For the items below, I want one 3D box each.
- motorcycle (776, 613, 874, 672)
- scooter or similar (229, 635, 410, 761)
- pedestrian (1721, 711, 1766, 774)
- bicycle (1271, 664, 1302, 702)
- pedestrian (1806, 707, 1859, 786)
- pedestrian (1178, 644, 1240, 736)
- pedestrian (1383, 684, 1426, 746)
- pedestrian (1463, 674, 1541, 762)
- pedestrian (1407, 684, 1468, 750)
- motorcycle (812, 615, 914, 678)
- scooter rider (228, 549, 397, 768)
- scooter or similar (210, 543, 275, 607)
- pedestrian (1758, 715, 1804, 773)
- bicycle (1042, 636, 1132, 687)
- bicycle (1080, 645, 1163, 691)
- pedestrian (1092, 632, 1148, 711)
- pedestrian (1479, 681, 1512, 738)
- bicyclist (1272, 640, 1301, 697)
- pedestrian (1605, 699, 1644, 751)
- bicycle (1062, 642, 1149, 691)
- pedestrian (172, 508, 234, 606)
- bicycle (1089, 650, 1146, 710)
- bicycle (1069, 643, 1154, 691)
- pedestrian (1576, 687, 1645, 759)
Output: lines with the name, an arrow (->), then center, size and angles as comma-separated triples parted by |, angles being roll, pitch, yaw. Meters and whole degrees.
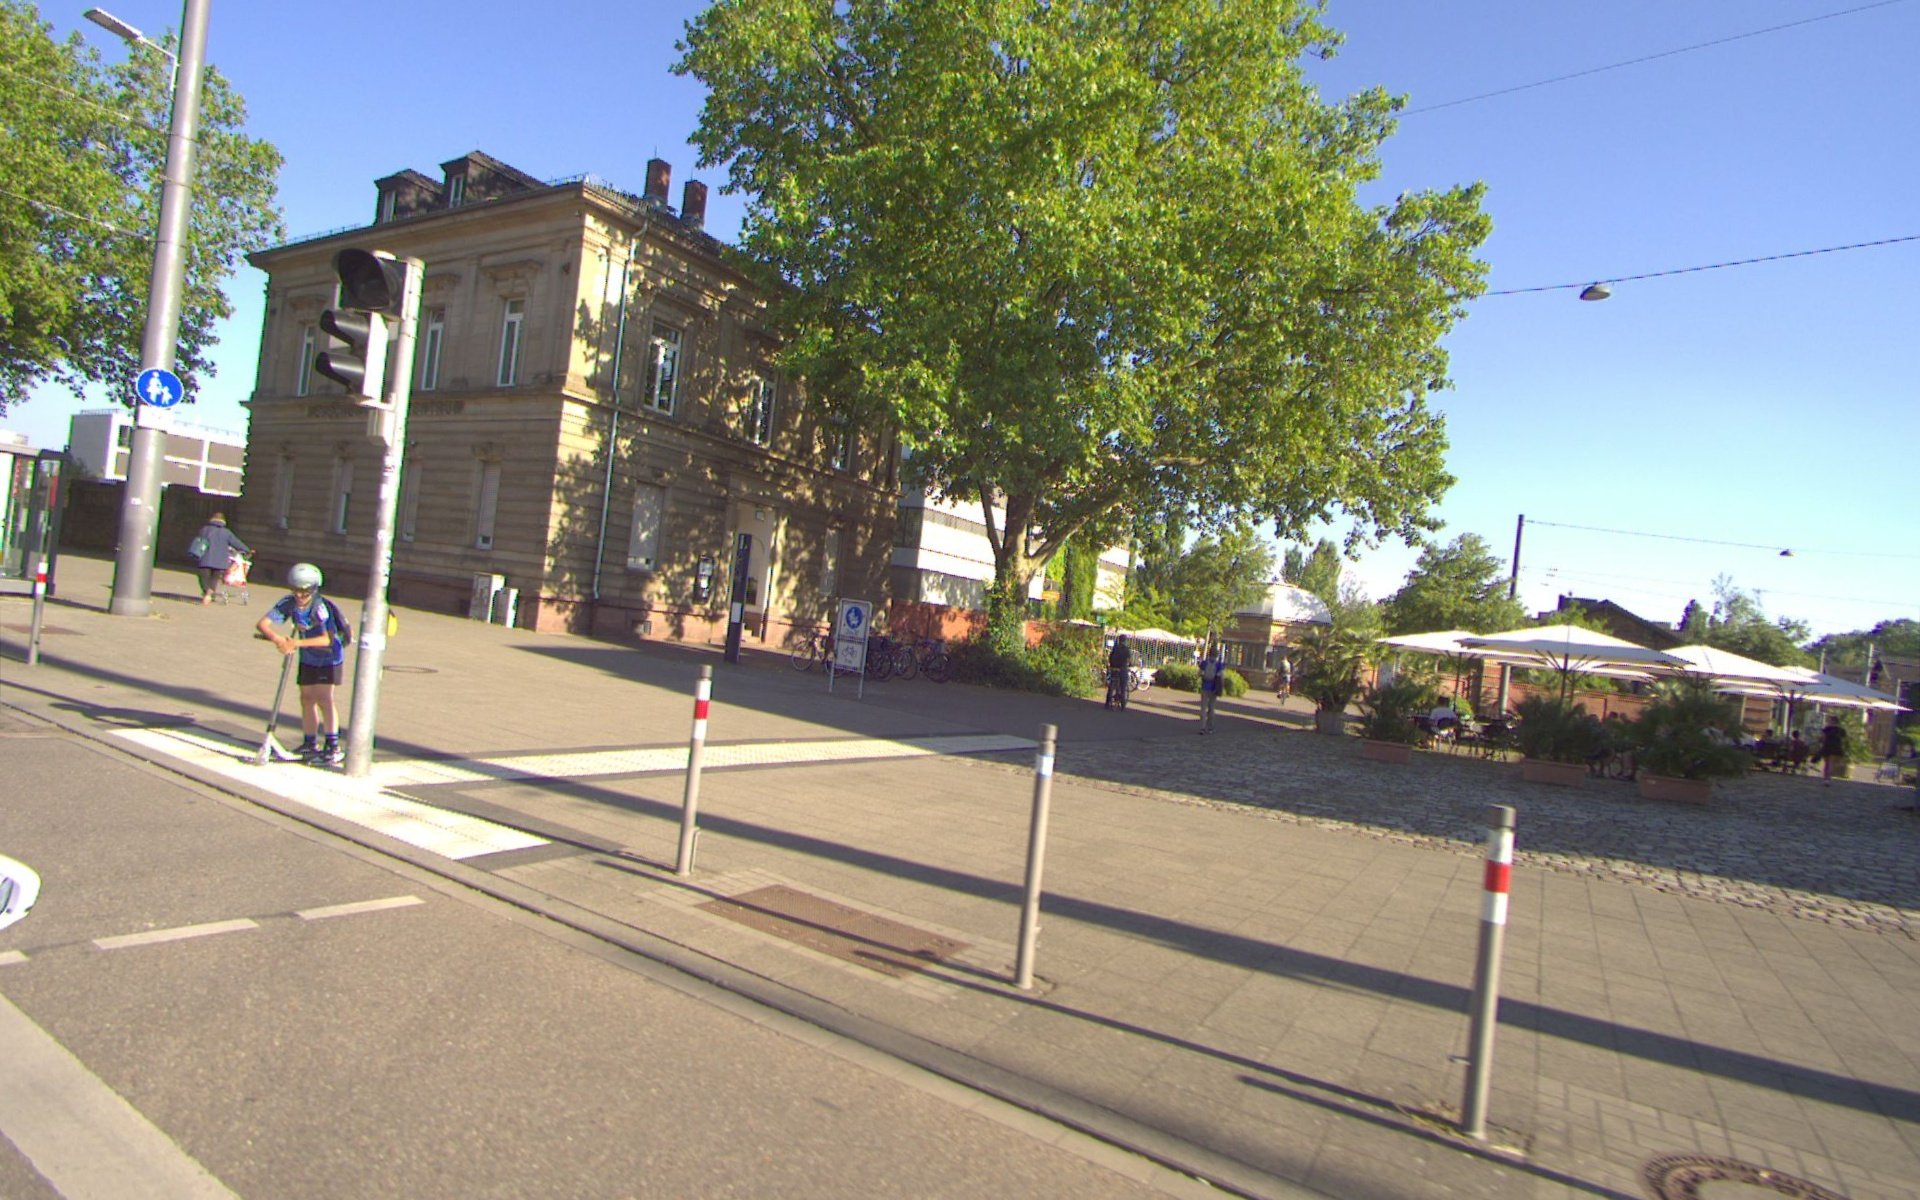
motorcycle -> -3.046, 0.978, 22.850 | 0.874, 1.115, 2.076 | 5, -2, 39
scooter or similar -> -4.589, 0.704, 7.257 | 0.260, 0.821, 1.022 | 6, -1, 32
pedestrian -> 20.197, 3.658, 25.955 | 0.653, 1.485, 0.837 | 6, 1, 30
bicycle -> 12.268, 3.097, 37.890 | 0.767, 1.293, 2.672 | 6, -2, 13
pedestrian -> 21.261, 3.558, 24.536 | 0.653, 1.767, 0.838 | 6, 1, 29
pedestrian -> 5.403, 1.917, 21.788 | 1.018, 1.811, 0.998 | 6, 1, 21
pedestrian -> 10.692, 2.772, 24.209 | 0.645, 1.393, 0.671 | 6, 0, 41
pedestrian -> 12.023, 2.602, 22.357 | 0.981, 1.766, 1.036 | 6, 0, -6
pedestrian -> 11.266, 2.742, 23.752 | 0.986, 1.397, 0.769 | 7, 2, 45
motorcycle -> -2.153, 1.068, 22.565 | 0.874, 1.173, 2.219 | 5, -2, 39
scooter rider -> -4.556, 0.408, 7.094 | 0.590, 1.414, 0.702 | 6, 0, 32
scooter or similar -> -14.218, -0.486, 19.930 | 0.746, 1.170, 0.719 | 6, 1, 26
pedestrian -> 23.332, 4.091, 28.609 | 0.652, 1.485, 0.839 | 6, 1, 22
bicycle -> 4.050, 1.963, 32.049 | 2.623, 1.293, 0.781 | 6, -1, 28
bicycle -> 5.592, 2.357, 34.972 | 2.623, 1.293, 0.781 | 6, -1, 28
pedestrian -> 3.911, 1.727, 24.552 | 1.018, 1.767, 0.998 | 6, 1, 21
pedestrian -> 15.105, 3.080, 28.388 | 0.653, 1.485, 0.837 | 6, 1, 30
bicyclist -> 12.323, 2.579, 37.951 | 0.766, 2.037, 0.991 | 6, -1, 14
pedestrian -> 20.810, 3.903, 31.523 | 0.825, 1.485, 0.663 | 6, 1, 29
bicycle -> 4.754, 2.173, 32.964 | 2.623, 1.293, 0.781 | 6, -1, 28
pedestrian -> -14.411, -0.819, 19.174 | 0.764, 1.767, 0.789 | 5, 1, -33
bicycle -> 3.863, 1.952, 24.493 | 0.767, 1.293, 2.671 | 6, -2, 20
bicycle -> 5.137, 2.260, 34.207 | 2.623, 1.293, 0.781 | 6, -1, 28
pedestrian -> 17.707, 3.331, 27.410 | 1.019, 1.767, 0.998 | 6, 1, -5
